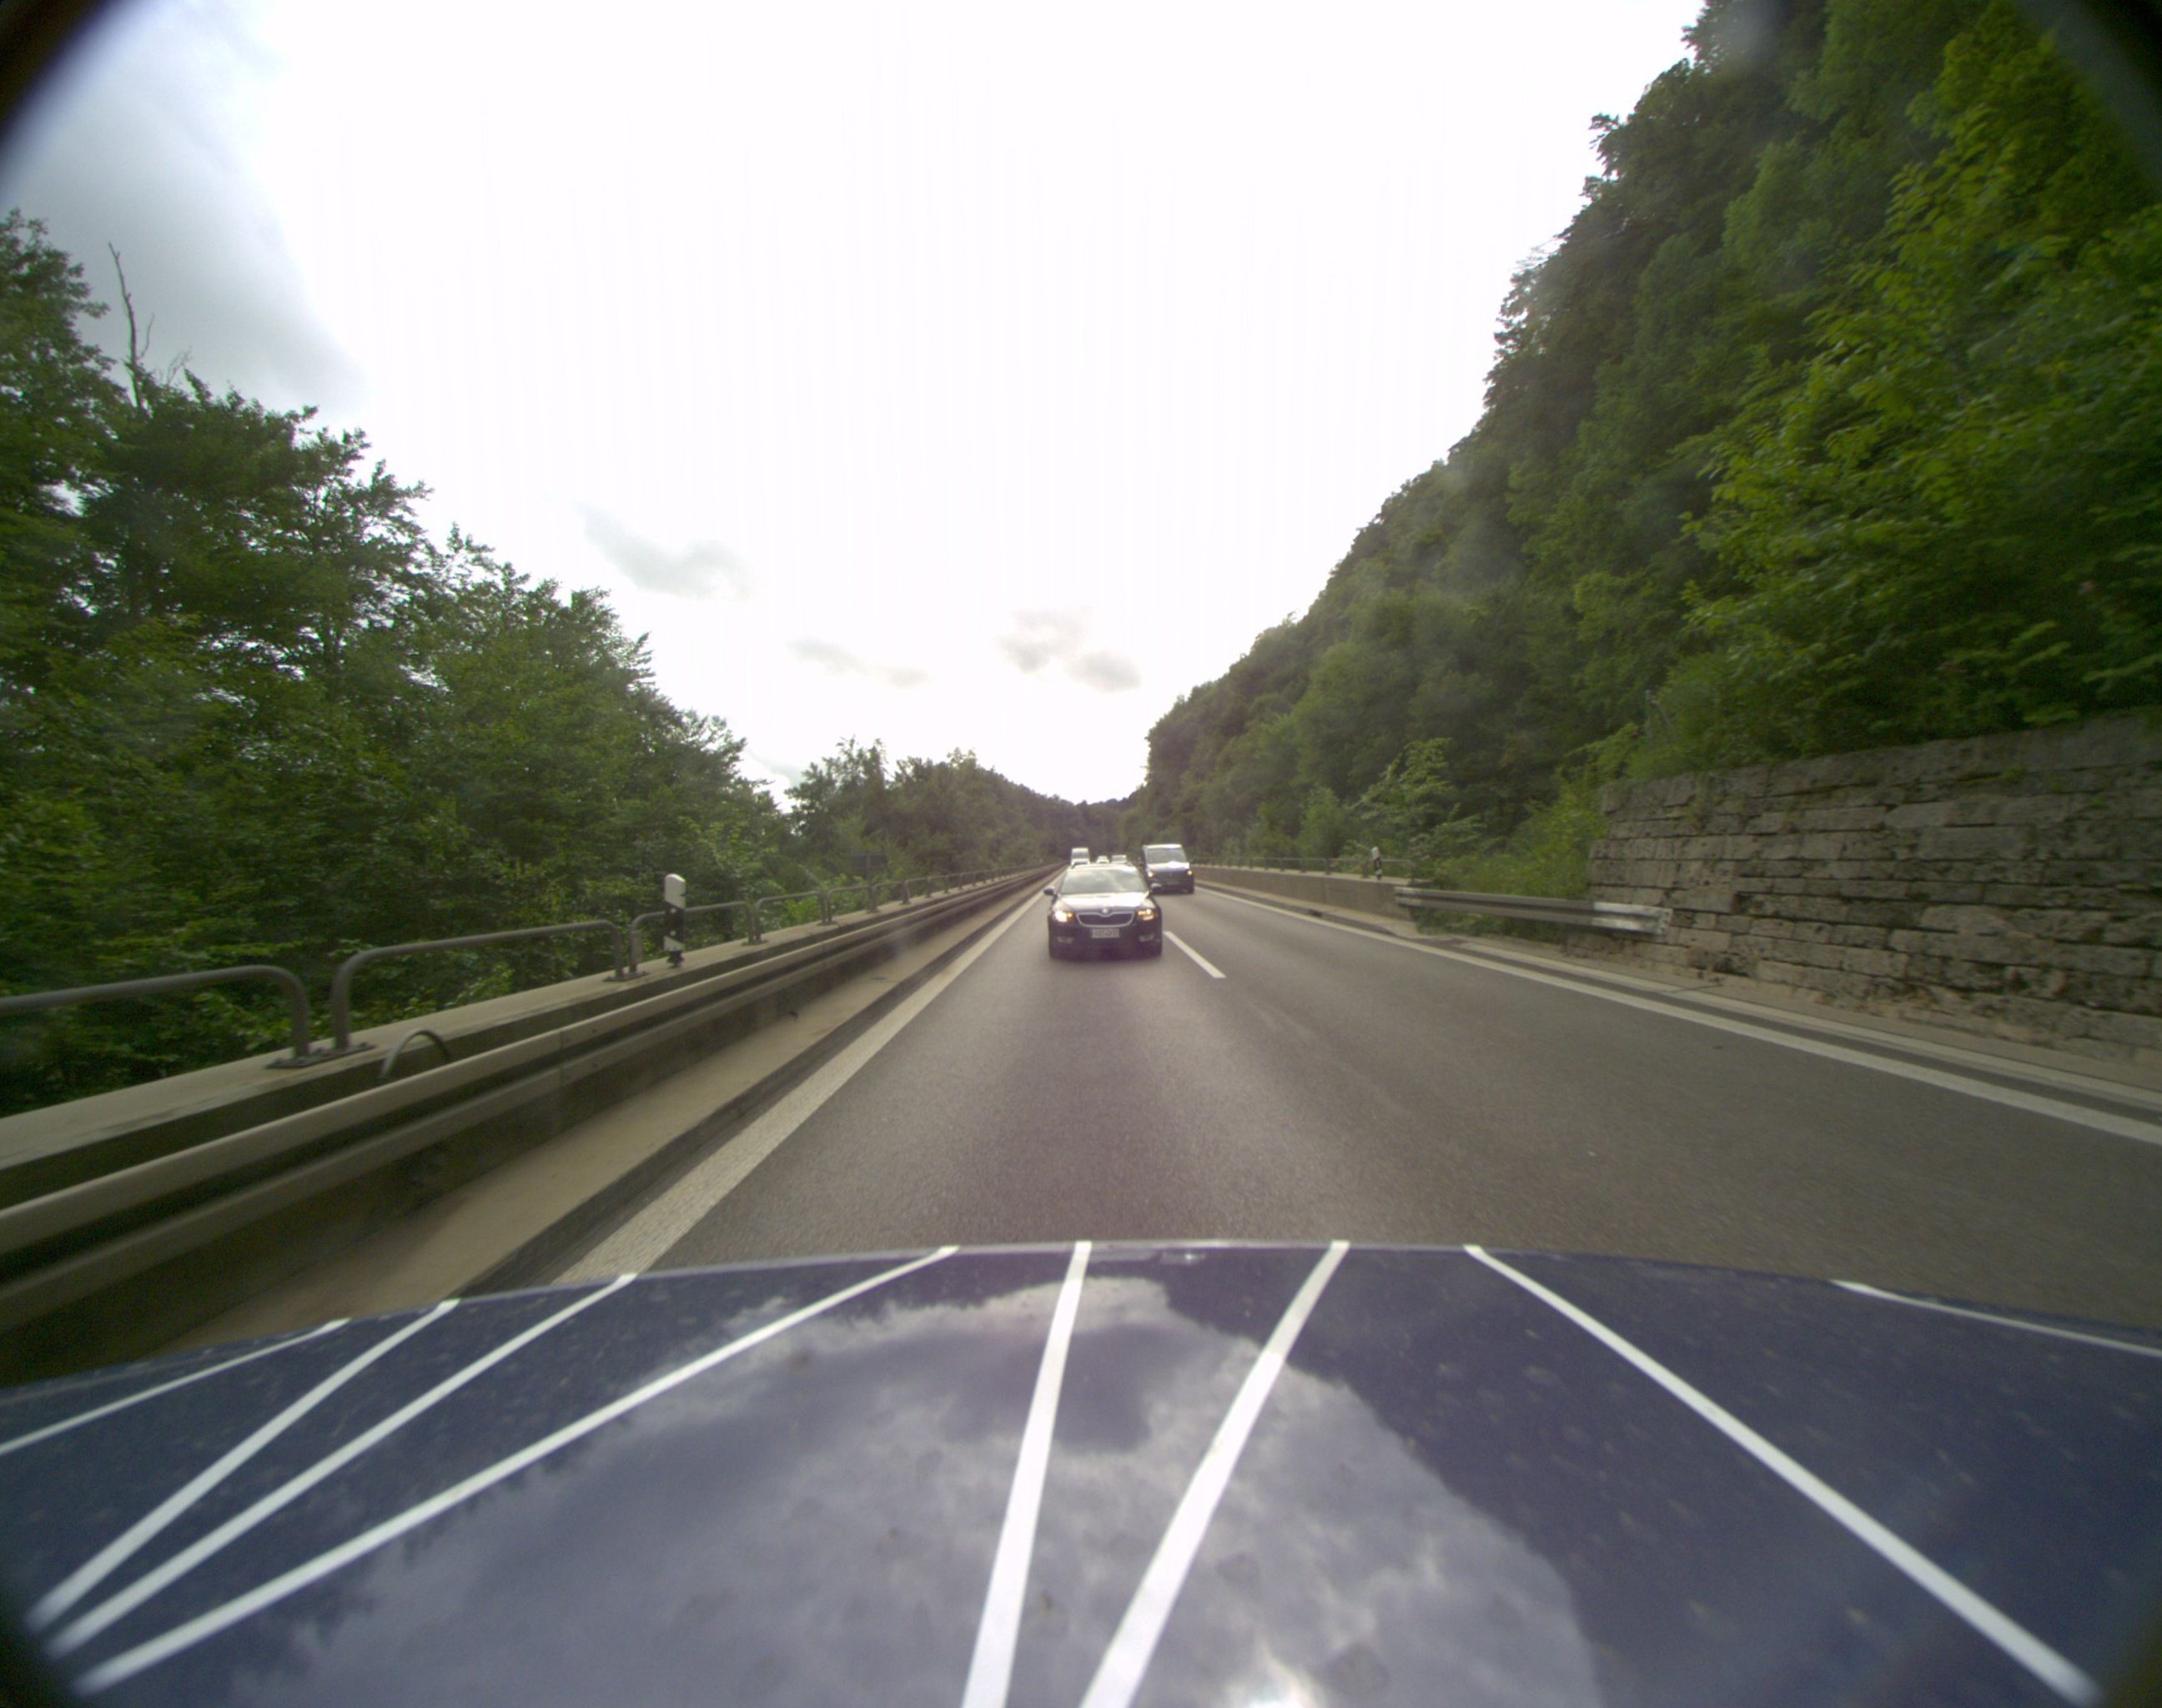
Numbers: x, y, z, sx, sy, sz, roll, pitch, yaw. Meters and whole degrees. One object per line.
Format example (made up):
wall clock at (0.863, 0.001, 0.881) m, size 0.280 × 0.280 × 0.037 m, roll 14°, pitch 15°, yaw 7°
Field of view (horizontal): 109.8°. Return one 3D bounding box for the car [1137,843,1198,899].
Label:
car at (3.473, 0.620, 31.396) m, size 1.998 × 2.002 × 5.541 m, roll -4°, pitch 0°, yaw 2°

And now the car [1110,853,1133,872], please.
car at (3.717, 0.790, 71.062) m, size 1.976 × 1.584 × 5.585 m, roll -1°, pitch 1°, yaw 2°

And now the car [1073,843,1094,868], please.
car at (0.327, 0.186, 83.003) m, size 2.099 × 2.547 × 5.921 m, roll 1°, pitch -1°, yaw 1°

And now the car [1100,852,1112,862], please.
car at (3.938, 0.462, 119.109) m, size 1.823 × 1.546 × 4.001 m, roll 1°, pitch -1°, yaw 1°

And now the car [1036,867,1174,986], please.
car at (0.310, 0.928, 11.501) m, size 1.638 × 1.384 × 4.499 m, roll -2°, pitch -1°, yaw 0°

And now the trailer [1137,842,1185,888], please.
trailer at (3.695, 0.492, 35.764) m, size 1.975 × 1.928 × 3.431 m, roll -4°, pitch 0°, yaw 3°
